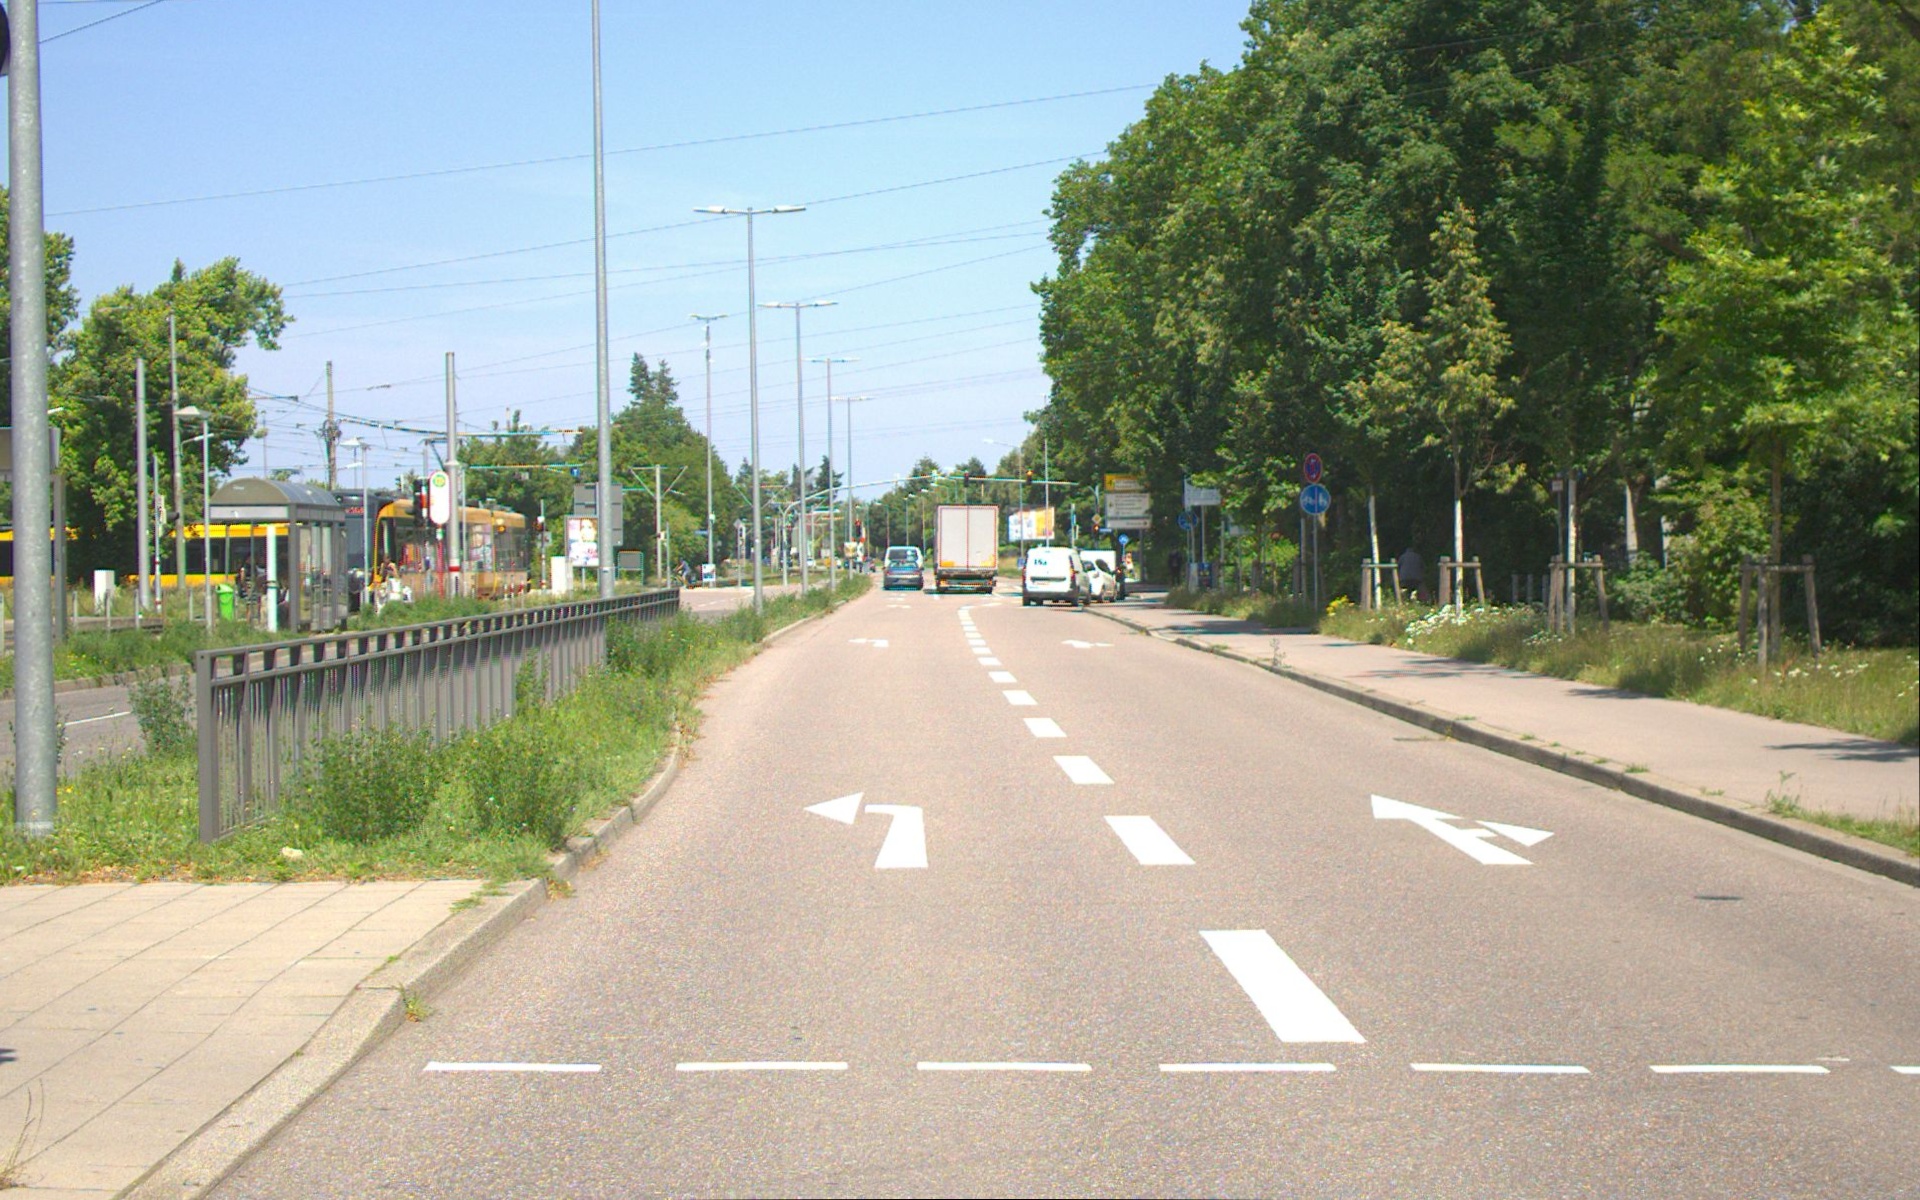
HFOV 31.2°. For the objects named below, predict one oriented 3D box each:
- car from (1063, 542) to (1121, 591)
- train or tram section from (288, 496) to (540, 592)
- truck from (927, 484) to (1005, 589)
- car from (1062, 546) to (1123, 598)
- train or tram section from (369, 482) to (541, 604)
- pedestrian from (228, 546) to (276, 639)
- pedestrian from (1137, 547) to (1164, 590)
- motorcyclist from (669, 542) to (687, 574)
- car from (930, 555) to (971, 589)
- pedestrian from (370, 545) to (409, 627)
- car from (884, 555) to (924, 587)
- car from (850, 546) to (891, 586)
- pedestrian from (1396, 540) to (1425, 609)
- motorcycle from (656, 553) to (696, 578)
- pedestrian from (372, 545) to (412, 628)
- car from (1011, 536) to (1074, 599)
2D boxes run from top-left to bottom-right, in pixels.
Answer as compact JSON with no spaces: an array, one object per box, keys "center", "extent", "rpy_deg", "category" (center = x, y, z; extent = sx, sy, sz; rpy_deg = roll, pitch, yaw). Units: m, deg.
[{"center":[4.552,-1.177,118.766],"extent":[1.779,1.663,4.000],"rpy_deg":[0,1,-1],"category":"car"},{"center":[-24.502,-2.463,150.999],"extent":[2.930,3.776,33.095],"rpy_deg":[0,1,-23],"category":"train or tram section"},{"center":[0.214,-2.691,146.013],"extent":[3.205,4.344,6.561],"rpy_deg":[0,1,-1],"category":"truck"},{"center":[4.302,-0.926,112.407],"extent":[1.779,1.663,4.000],"rpy_deg":[0,1,-1],"category":"car"},{"center":[-17.447,-1.996,121.327],"extent":[2.957,3.737,30.036],"rpy_deg":[0,1,-3],"category":"train or tram section"},{"center":[-14.254,-0.150,69.263],"extent":[0.785,1.862,0.817],"rpy_deg":[0,1,-1],"category":"pedestrian"},{"center":[9.054,-1.490,163.279],"extent":[1.185,2.007,1.214],"rpy_deg":[0,1,0],"category":"pedestrian"},{"center":[-16.174,-2.417,196.903],"extent":[0.924,1.829,0.850],"rpy_deg":[-1,1,-12],"category":"motorcyclist"},{"center":[-0.429,-1.253,153.579],"extent":[1.811,1.459,4.000],"rpy_deg":[0,1,-1],"category":"car"},{"center":[-14.091,-0.344,84.909],"extent":[0.815,2.007,0.938],"rpy_deg":[0,1,-1],"category":"pedestrian"},{"center":[-2.553,-1.338,157.847],"extent":[1.811,1.459,4.000],"rpy_deg":[0,1,-1],"category":"car"},{"center":[-4.549,-1.729,175.128],"extent":[1.993,2.007,4.000],"rpy_deg":[0,1,-1],"category":"car"},{"center":[9.537,-0.542,72.798],"extent":[0.604,1.433,0.556],"rpy_deg":[0,1,6],"category":"pedestrian"},{"center":[-16.260,-1.983,196.869],"extent":[2.182,1.402,0.848],"rpy_deg":[-1,1,-11],"category":"motorcycle"},{"center":[-13.813,-0.330,83.615],"extent":[0.815,2.007,0.938],"rpy_deg":[0,1,-1],"category":"pedestrian"},{"center":[2.511,-1.012,105.636],"extent":[1.779,1.897,4.000],"rpy_deg":[0,1,-1],"category":"car"}]
